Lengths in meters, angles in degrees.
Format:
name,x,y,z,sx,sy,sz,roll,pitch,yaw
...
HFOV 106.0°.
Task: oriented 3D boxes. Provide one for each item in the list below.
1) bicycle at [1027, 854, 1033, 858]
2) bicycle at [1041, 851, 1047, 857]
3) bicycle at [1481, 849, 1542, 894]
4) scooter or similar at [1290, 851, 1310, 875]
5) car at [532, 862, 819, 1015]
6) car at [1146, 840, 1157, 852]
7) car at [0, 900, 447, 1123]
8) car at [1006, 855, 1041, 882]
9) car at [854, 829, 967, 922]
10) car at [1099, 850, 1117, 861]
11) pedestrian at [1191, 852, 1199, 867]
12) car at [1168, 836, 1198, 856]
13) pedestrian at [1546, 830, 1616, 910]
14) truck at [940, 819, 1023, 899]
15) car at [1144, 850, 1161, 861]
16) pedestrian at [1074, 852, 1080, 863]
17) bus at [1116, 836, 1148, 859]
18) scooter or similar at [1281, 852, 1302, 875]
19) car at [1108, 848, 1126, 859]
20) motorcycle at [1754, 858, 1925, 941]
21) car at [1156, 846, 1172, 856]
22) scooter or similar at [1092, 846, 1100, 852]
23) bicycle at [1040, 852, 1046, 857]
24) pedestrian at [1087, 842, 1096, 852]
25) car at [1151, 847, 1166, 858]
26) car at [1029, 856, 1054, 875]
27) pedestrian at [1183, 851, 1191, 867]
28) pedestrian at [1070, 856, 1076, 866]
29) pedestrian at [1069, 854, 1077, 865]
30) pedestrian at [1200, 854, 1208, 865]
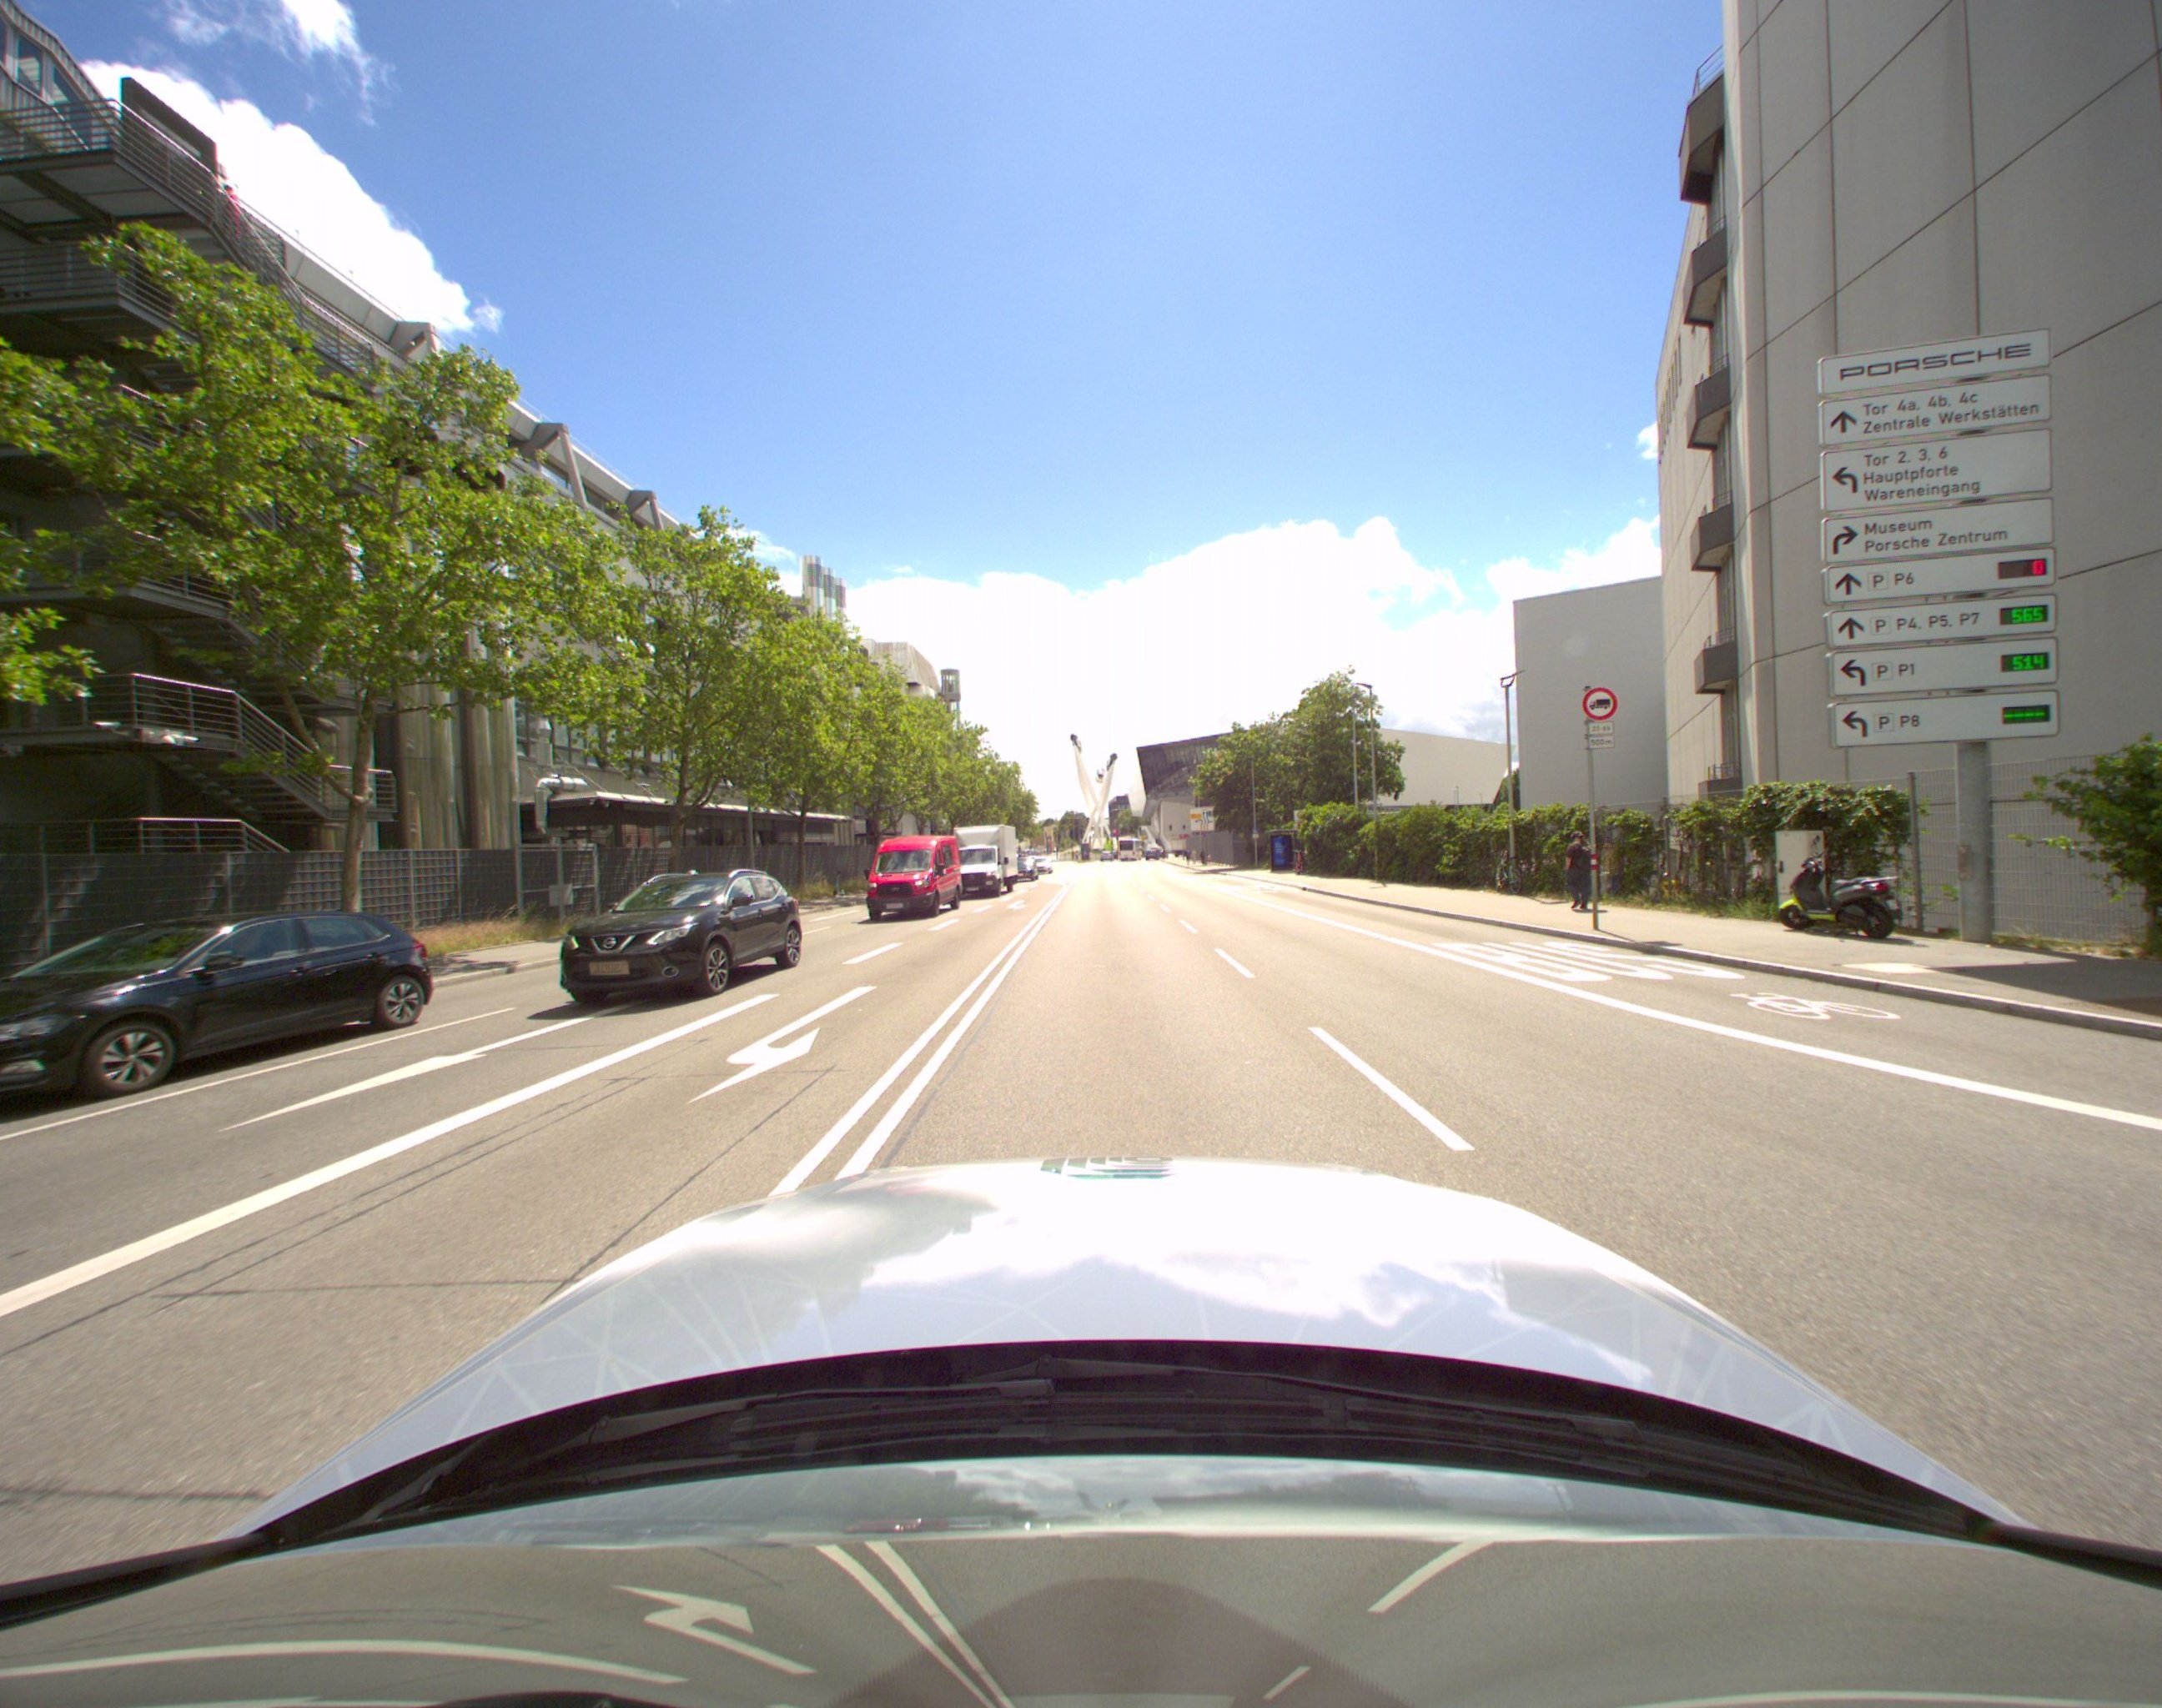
name,x,y,z,sx,sy,sz,roll,pitch,yaw
bicycle,-12.833,0.457,204.885,0.486,0.866,1.621,-1,2,42
bicycle,-9.627,0.012,212.884,1.600,1.382,0.493,-1,-1,1
bicycle,11.897,0.470,22.572,0.441,1.180,2.469,-1,-1,2
scooter or similar,11.531,0.449,42.781,0.536,1.163,1.803,-3,0,29
car,-5.428,1.010,11.635,1.729,1.684,4.217,-4,-1,3
car,14.035,-1.555,162.345,1.983,2.171,4.664,-1,-1,7
car,-8.552,1.304,7.913,1.571,1.428,3.921,-4,0,1
car,-3.765,0.946,53.952,1.733,1.581,4.269,-4,0,2
car,-5.186,0.615,25.655,2.055,2.507,5.483,-3,0,2
car,4.122,0.290,123.355,1.979,1.637,4.015,-1,-1,14
pedestrian,12.183,0.575,87.123,0.792,1.597,0.732,-1,-1,1
car,18.726,-1.406,149.240,3.307,3.504,9.389,-1,-1,21
pedestrian,10.820,0.344,17.665,0.807,1.645,0.997,-3,-1,0
truck,-4.356,0.252,37.129,2.443,3.129,7.247,-4,-1,2
car,11.136,0.241,126.185,1.979,1.636,4.016,-1,0,15
pedestrian,-0.664,0.594,139.765,0.864,1.774,1.031,0,-1,-12
bus,7.992,-0.884,126.656,3.051,3.362,12.263,-1,-1,12
scooter or similar,11.362,0.488,43.896,0.536,1.163,2.141,-3,0,29
car,5.911,-0.047,132.800,1.977,1.637,4.019,-1,-1,18
motorcycle,10.955,0.610,11.875,0.588,1.067,2.038,-3,0,2
car,13.669,-0.456,133.598,1.979,1.637,4.016,-1,-1,15
scooter or similar,2.926,-1.086,160.966,1.404,1.025,0.547,-6,6,-19
bicycle,-9.811,0.065,211.348,1.600,1.316,0.493,-1,-1,1
pedestrian,2.048,-1.356,160.687,1.286,1.816,0.980,-6,4,-20
car,13.828,-0.295,145.968,1.979,1.932,4.257,-1,-1,15
car,-3.375,0.971,70.177,1.685,1.415,4.147,-4,0,2
pedestrian,11.378,0.523,87.157,0.792,1.721,0.732,-1,-1,1
pedestrian,-1.383,1.174,143.921,0.864,1.774,1.031,0,-1,-12
pedestrian,-1.409,0.954,142.368,0.944,2.055,0.956,-1,-1,21
pedestrian,12.298,0.553,81.394,0.754,1.149,0.973,-1,-1,5
